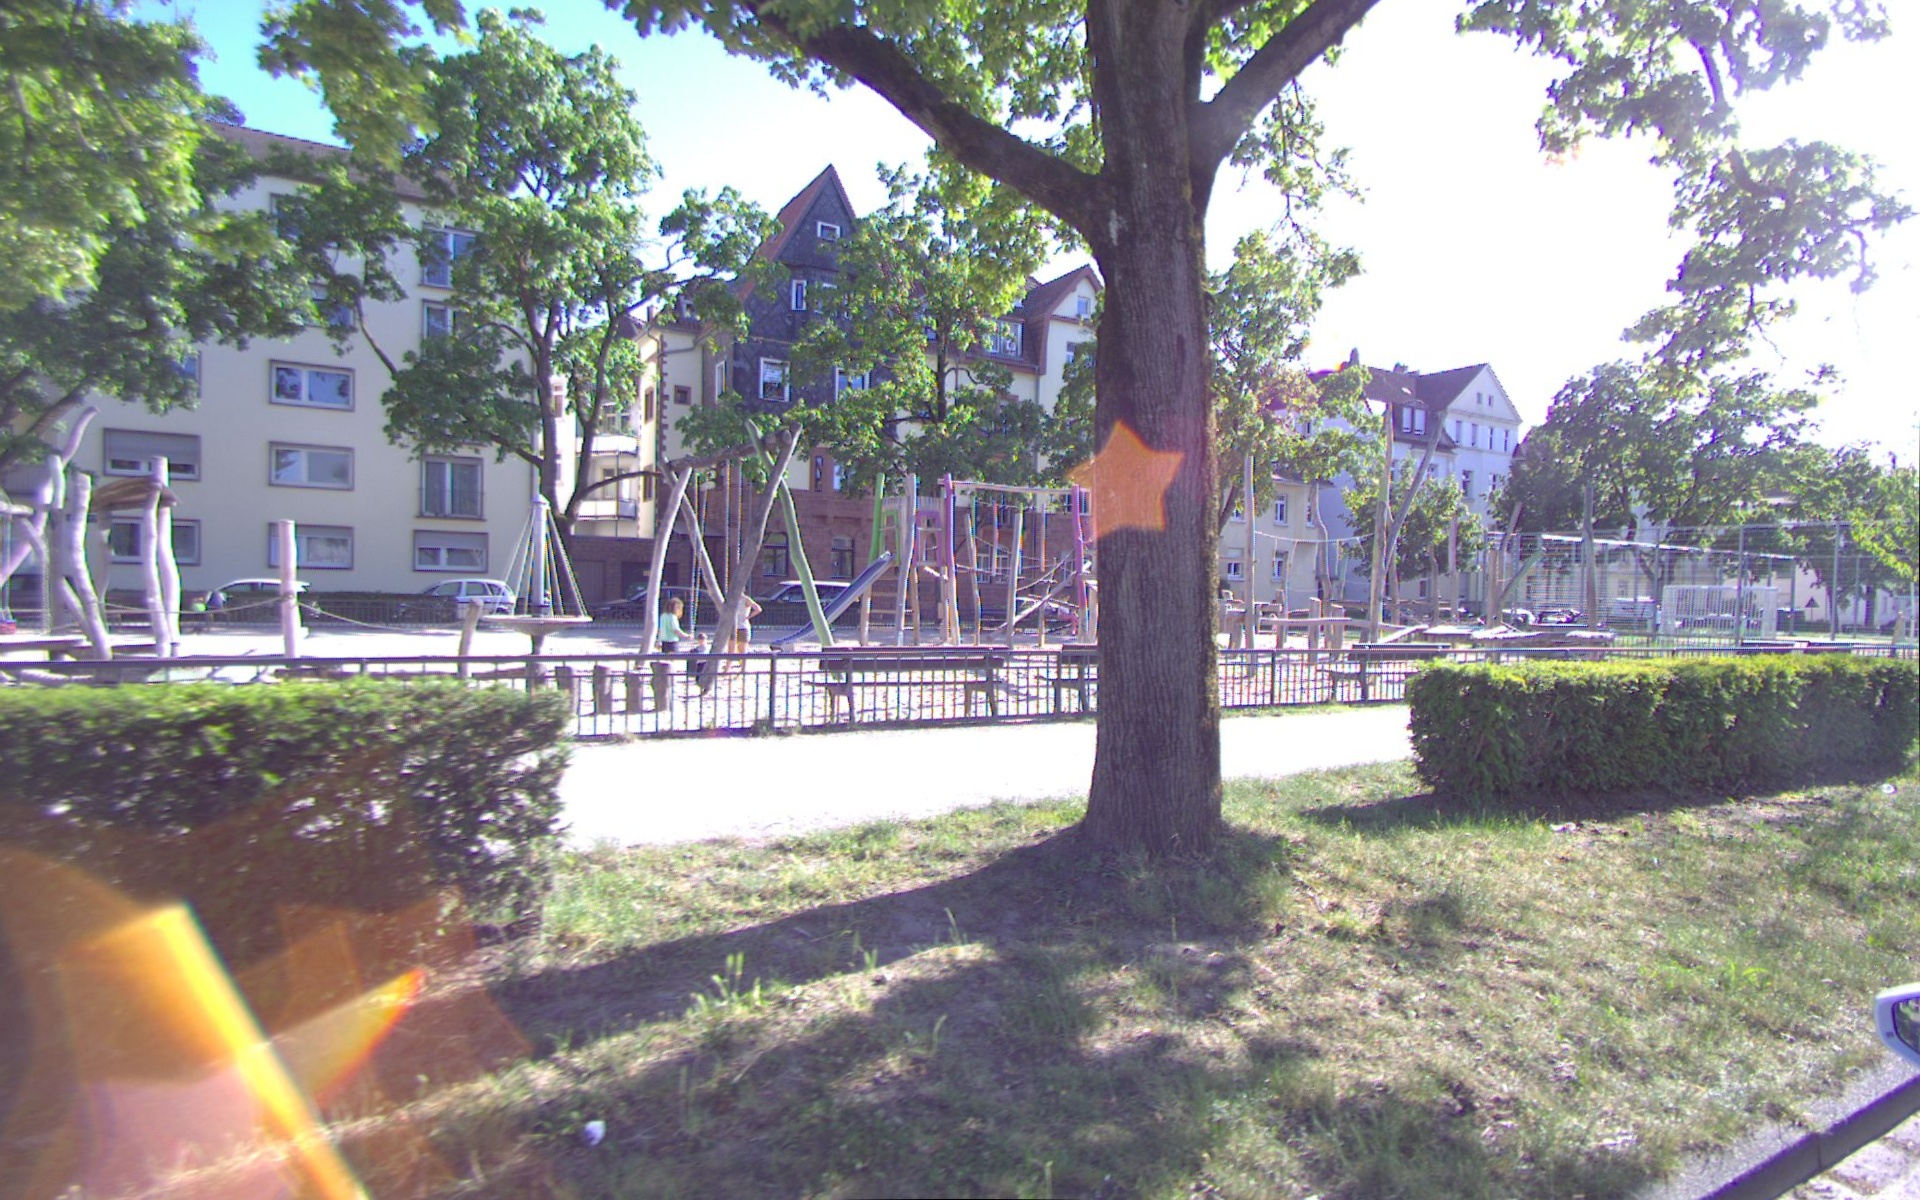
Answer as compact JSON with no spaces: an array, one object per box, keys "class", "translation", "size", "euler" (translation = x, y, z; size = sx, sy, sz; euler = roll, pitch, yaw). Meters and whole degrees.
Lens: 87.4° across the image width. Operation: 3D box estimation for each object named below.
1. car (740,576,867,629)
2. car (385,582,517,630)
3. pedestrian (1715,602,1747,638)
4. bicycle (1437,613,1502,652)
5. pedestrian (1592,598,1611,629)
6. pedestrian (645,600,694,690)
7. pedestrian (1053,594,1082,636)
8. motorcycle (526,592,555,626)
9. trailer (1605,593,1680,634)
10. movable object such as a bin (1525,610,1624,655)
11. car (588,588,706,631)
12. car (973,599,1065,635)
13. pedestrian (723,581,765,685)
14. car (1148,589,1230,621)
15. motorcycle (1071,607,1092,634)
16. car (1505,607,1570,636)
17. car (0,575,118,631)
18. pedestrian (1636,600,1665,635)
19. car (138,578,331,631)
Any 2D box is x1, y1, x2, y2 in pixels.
[{"class":"car","translation":[-6.327,0.116,40.740],"size":[4.777,2.009,1.786],"euler":[1,1,-30]},{"class":"car","translation":[-17.410,0.219,34.422],"size":[3.952,1.530,1.786],"euler":[1,1,-30]},{"class":"pedestrian","translation":[29.237,0.761,38.097],"size":[0.637,1.336,0.650],"euler":[2,1,0]},{"class":"bicycle","translation":[15.908,0.995,31.401],"size":[0.494,1.122,1.785],"euler":[1,1,-31]},{"class":"pedestrian","translation":[35.332,0.738,55.302],"size":[0.642,1.683,0.645],"euler":[1,0,-29]},{"class":"pedestrian","translation":[-4.465,0.681,15.466],"size":[0.639,1.347,0.649],"euler":[1,1,-11]},{"class":"pedestrian","translation":[3.432,0.473,32.114],"size":[0.643,1.336,0.644],"euler":[1,1,-33]},{"class":"motorcycle","translation":[-14.979,0.311,35.846],"size":[0.495,1.122,1.781],"euler":[1,1,-37]},{"class":"trailer","translation":[50.822,1.014,74.779],"size":[5.735,2.909,2.331],"euler":[1,1,-31]},{"class":"movable object such as a bin","translation":[18.363,0.953,30.086],"size":[1.045,1.258,2.317],"euler":[1,0,-33]},{"class":"car","translation":[-11.759,0.356,37.733],"size":[3.952,1.530,1.786],"euler":[1,1,-30]},{"class":"car","translation":[2.742,0.793,46.557],"size":[3.952,1.530,1.786],"euler":[1,1,-30]},{"class":"pedestrian","translation":[-3.600,0.537,16.760],"size":[0.639,1.683,0.649],"euler":[1,1,-11]},{"class":"car","translation":[11.805,0.273,51.788],"size":[3.952,1.530,1.786],"euler":[1,1,-30]},{"class":"motorcycle","translation":[3.923,0.657,32.452],"size":[0.281,0.838,0.698],"euler":[1,1,-31]},{"class":"car","translation":[38.857,1.447,67.562],"size":[4.435,1.801,1.786],"euler":[1,1,-30]},{"class":"car","translation":[-26.950,0.076,28.824],"size":[3.952,1.530,1.786],"euler":[1,1,-30]},{"class":"pedestrian","translation":[27.296,0.688,39.722],"size":[0.637,1.336,0.650],"euler":[2,1,0]},{"class":"car","translation":[-22.597,0.149,31.545],"size":[4.710,1.530,1.896],"euler":[1,1,-31]}]
